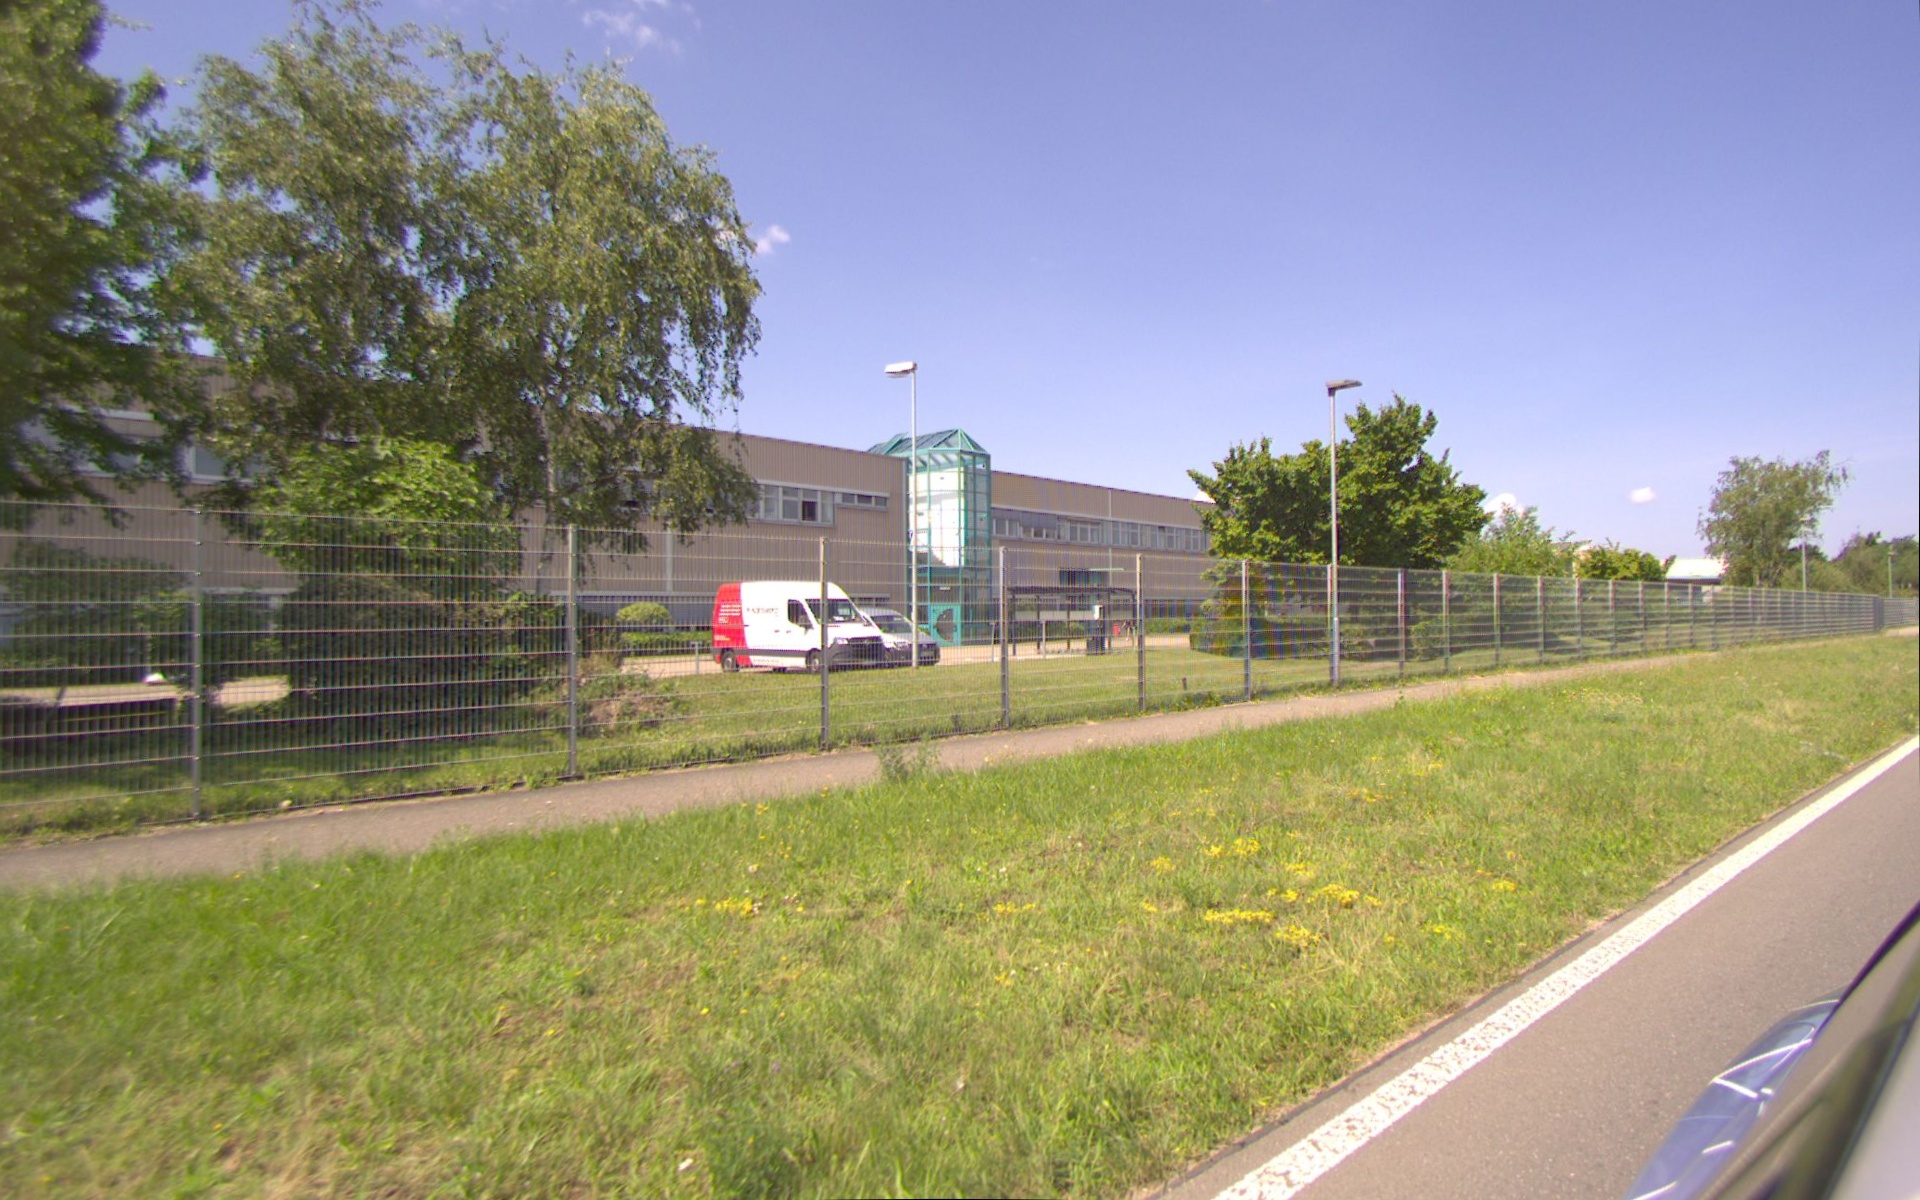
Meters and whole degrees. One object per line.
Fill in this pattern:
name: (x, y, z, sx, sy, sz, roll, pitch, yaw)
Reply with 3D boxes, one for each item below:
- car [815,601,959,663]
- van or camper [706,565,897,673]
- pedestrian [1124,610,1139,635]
car: (-2.154, 0.900, 29.175, 3.984, 1.661, 1.969, -2, -2, 43)
van or camper: (-4.496, 0.610, 27.939, 5.766, 2.551, 1.969, -6, -4, 43)
pedestrian: (10.043, 1.320, 59.279, 0.514, 1.409, 0.718, -2, -2, 44)
